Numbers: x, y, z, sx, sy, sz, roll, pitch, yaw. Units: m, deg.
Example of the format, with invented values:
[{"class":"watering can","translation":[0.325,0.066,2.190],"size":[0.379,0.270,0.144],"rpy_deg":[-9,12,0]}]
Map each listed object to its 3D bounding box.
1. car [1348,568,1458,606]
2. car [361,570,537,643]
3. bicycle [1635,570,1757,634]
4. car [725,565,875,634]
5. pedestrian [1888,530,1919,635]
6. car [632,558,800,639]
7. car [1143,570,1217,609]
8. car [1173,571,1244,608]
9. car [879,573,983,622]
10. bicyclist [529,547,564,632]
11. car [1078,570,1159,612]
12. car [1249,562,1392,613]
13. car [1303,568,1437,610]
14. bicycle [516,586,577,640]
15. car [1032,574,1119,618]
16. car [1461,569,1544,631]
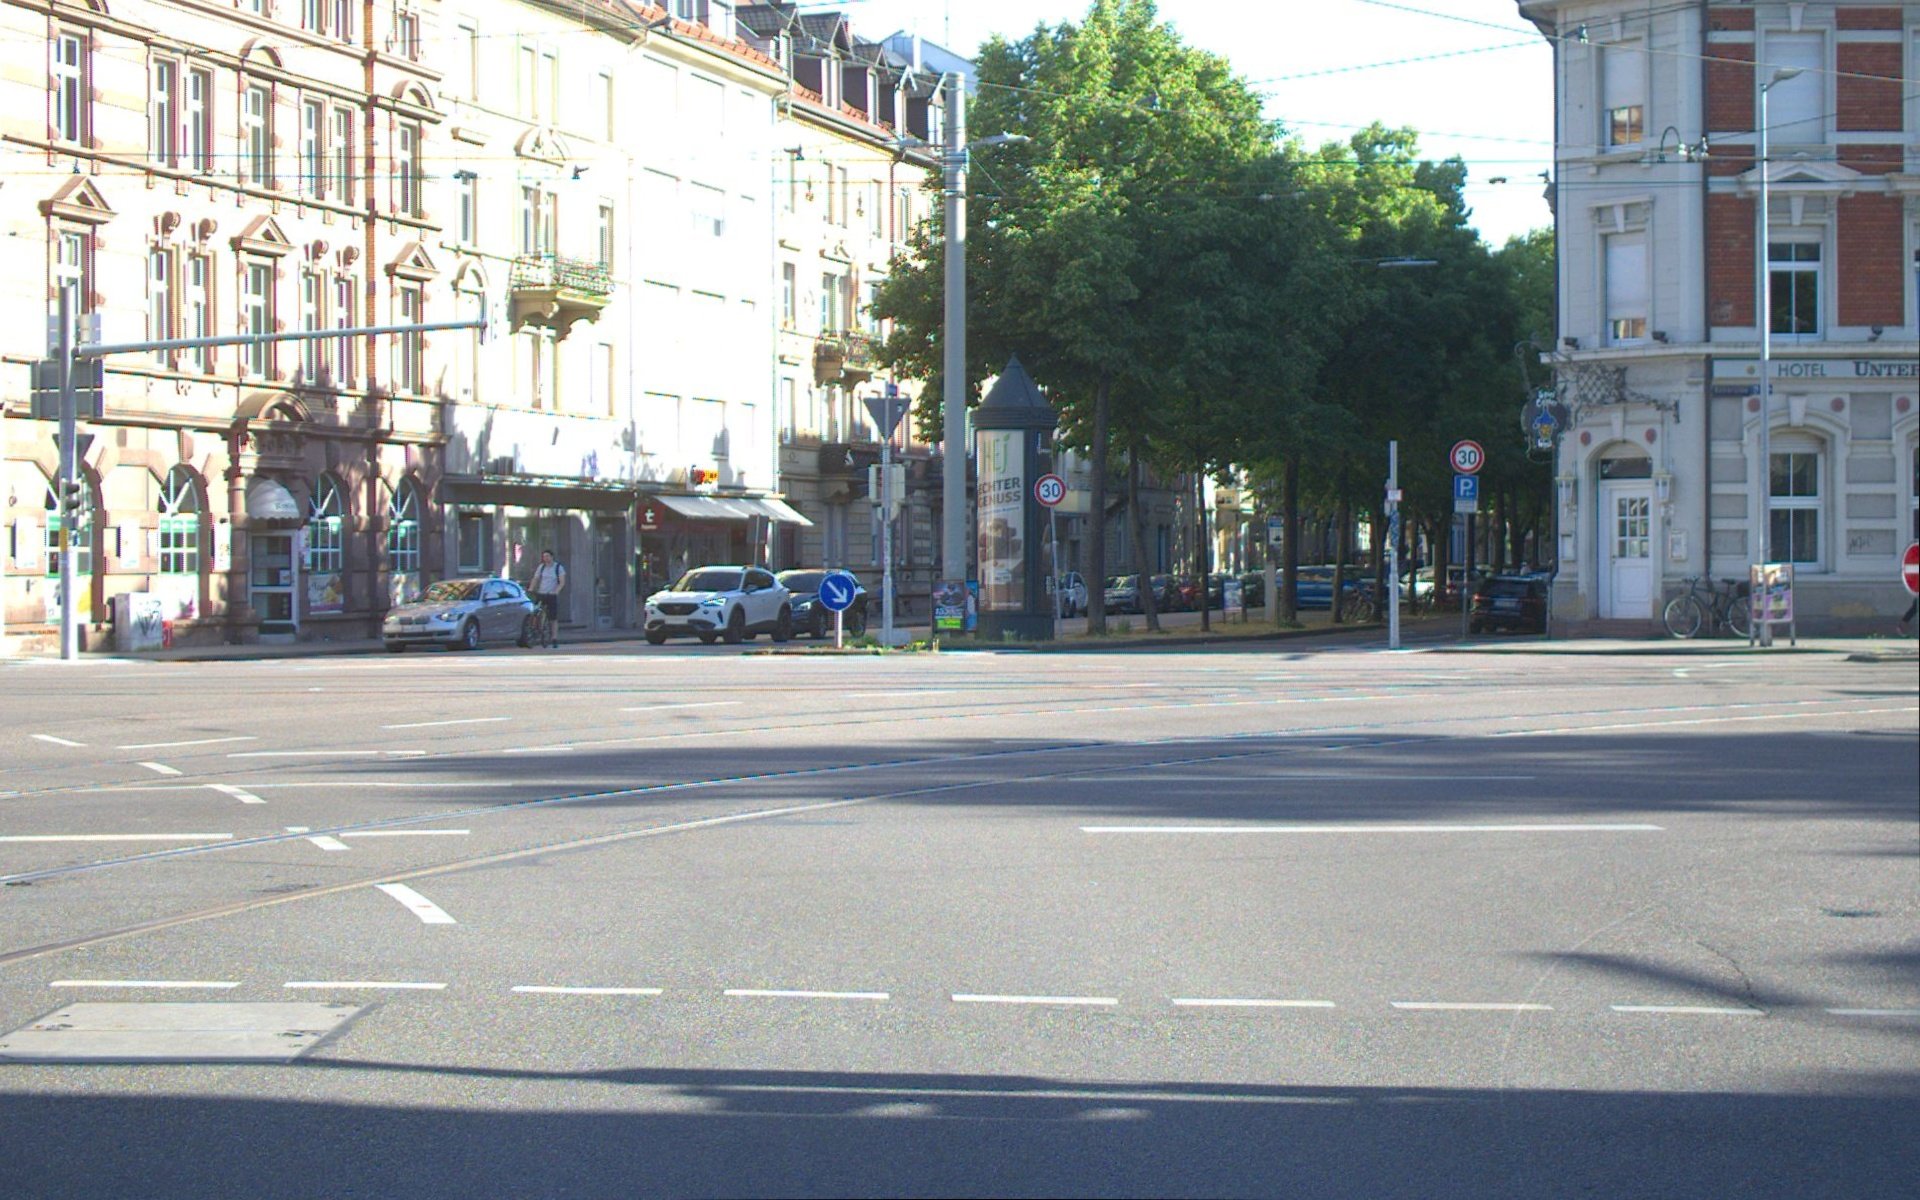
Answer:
[{"class":"car","translation":[14.368,-0.426,111.459],"size":[3.435,1.235,1.576],"rpy_deg":[0,1,11]},{"class":"car","translation":[-9.928,0.104,67.040],"size":[1.995,1.357,3.816],"rpy_deg":[0,1,16]},{"class":"bicycle","translation":[12.267,0.027,57.335],"size":[1.953,1.050,0.715],"rpy_deg":[0,1,10]},{"class":"car","translation":[-3.399,-0.038,73.639],"size":[1.995,1.400,4.166],"rpy_deg":[0,1,16]},{"class":"pedestrian","translation":[15.884,-0.283,56.690],"size":[1.036,1.706,0.629],"rpy_deg":[1,0,9]},{"class":"car","translation":[-4.753,-0.051,67.466],"size":[1.995,1.511,4.166],"rpy_deg":[0,1,16]},{"class":"car","translation":[8.413,-0.414,131.400],"size":[1.995,1.400,4.166],"rpy_deg":[0,1,16]},{"class":"car","translation":[9.891,-0.445,136.597],"size":[1.995,1.400,4.166],"rpy_deg":[0,1,16]},{"class":"car","translation":[-0.839,-0.089,102.085],"size":[1.995,1.400,4.166],"rpy_deg":[0,1,16]},{"class":"bicyclist","translation":[-7.841,-0.201,65.189],"size":[0.489,1.596,0.666],"rpy_deg":[0,1,10]},{"class":"car","translation":[5.659,-0.336,122.573],"size":[1.995,1.400,4.166],"rpy_deg":[0,1,16]},{"class":"car","translation":[10.451,-0.359,99.678],"size":[3.989,1.450,1.681],"rpy_deg":[0,1,11]},{"class":"car","translation":[12.582,-0.345,105.386],"size":[3.989,1.284,1.694],"rpy_deg":[0,1,11]},{"class":"bicycle","translation":[-7.849,0.234,65.296],"size":[0.655,0.997,1.664],"rpy_deg":[1,1,12]},{"class":"car","translation":[3.945,-0.147,116.854],"size":[1.995,1.400,4.166],"rpy_deg":[0,1,16]},{"class":"car","translation":[13.049,-0.023,82.521],"size":[1.756,1.415,3.998],"rpy_deg":[0,1,12]}]
